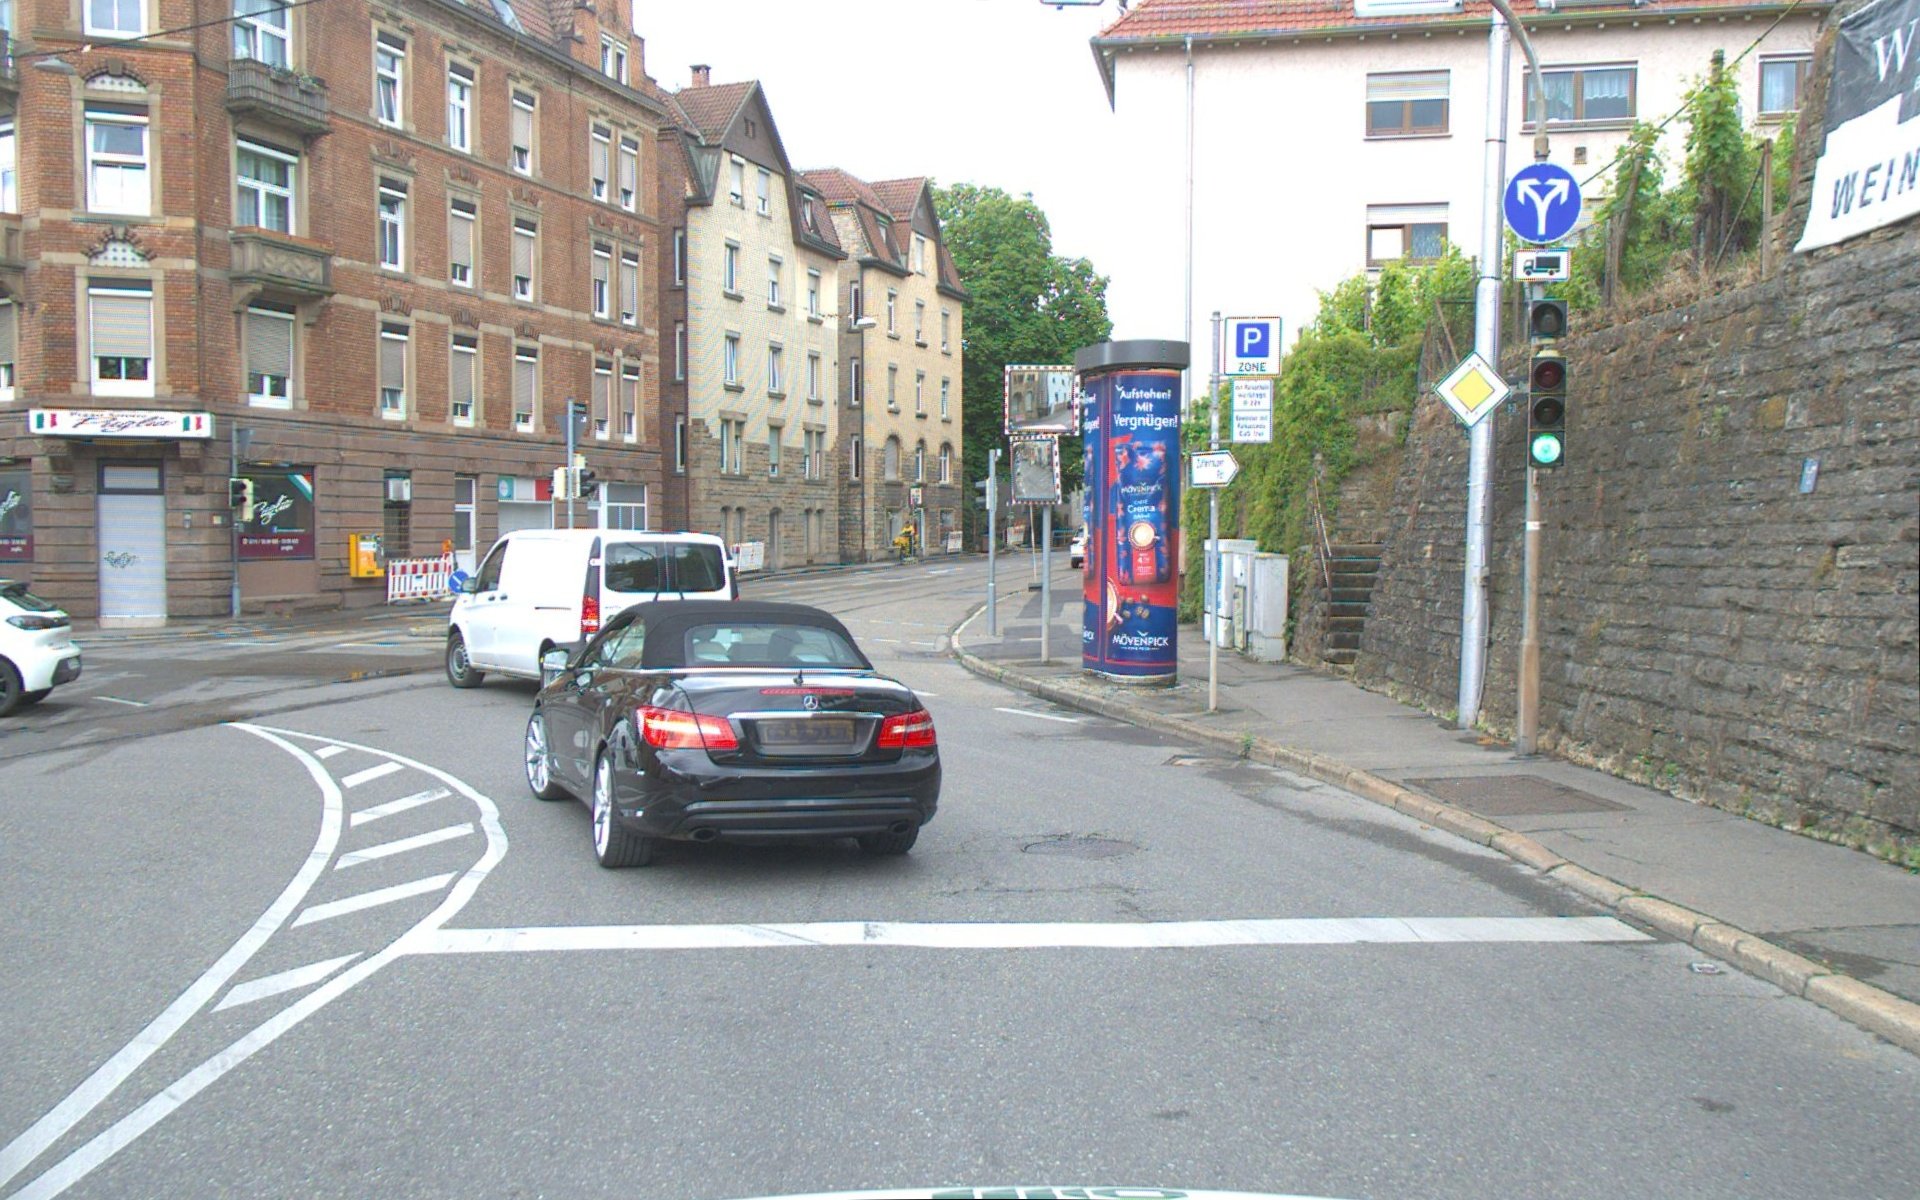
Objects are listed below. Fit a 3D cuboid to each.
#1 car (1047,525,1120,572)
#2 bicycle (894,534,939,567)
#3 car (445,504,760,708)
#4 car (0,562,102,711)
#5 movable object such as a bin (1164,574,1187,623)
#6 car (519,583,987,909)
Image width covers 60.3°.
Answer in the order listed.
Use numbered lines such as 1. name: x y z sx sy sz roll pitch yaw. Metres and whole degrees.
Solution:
1. car: 4.929 -2.058 65.570 1.908 1.748 4.003 -2 2 18
2. bicycle: -1.919 -2.213 73.158 0.620 1.329 2.594 -3 2 31
3. car: -4.185 0.056 18.757 1.875 1.962 4.590 -4 1 -34
4. car: -11.346 0.463 17.281 3.841 1.491 1.680 -4 1 -15
5. movable object such as a bin: 4.132 -0.036 31.698 0.337 0.927 0.494 0 0 -5
6. car: -1.503 0.681 10.112 1.737 1.433 4.369 -4 1 -22
